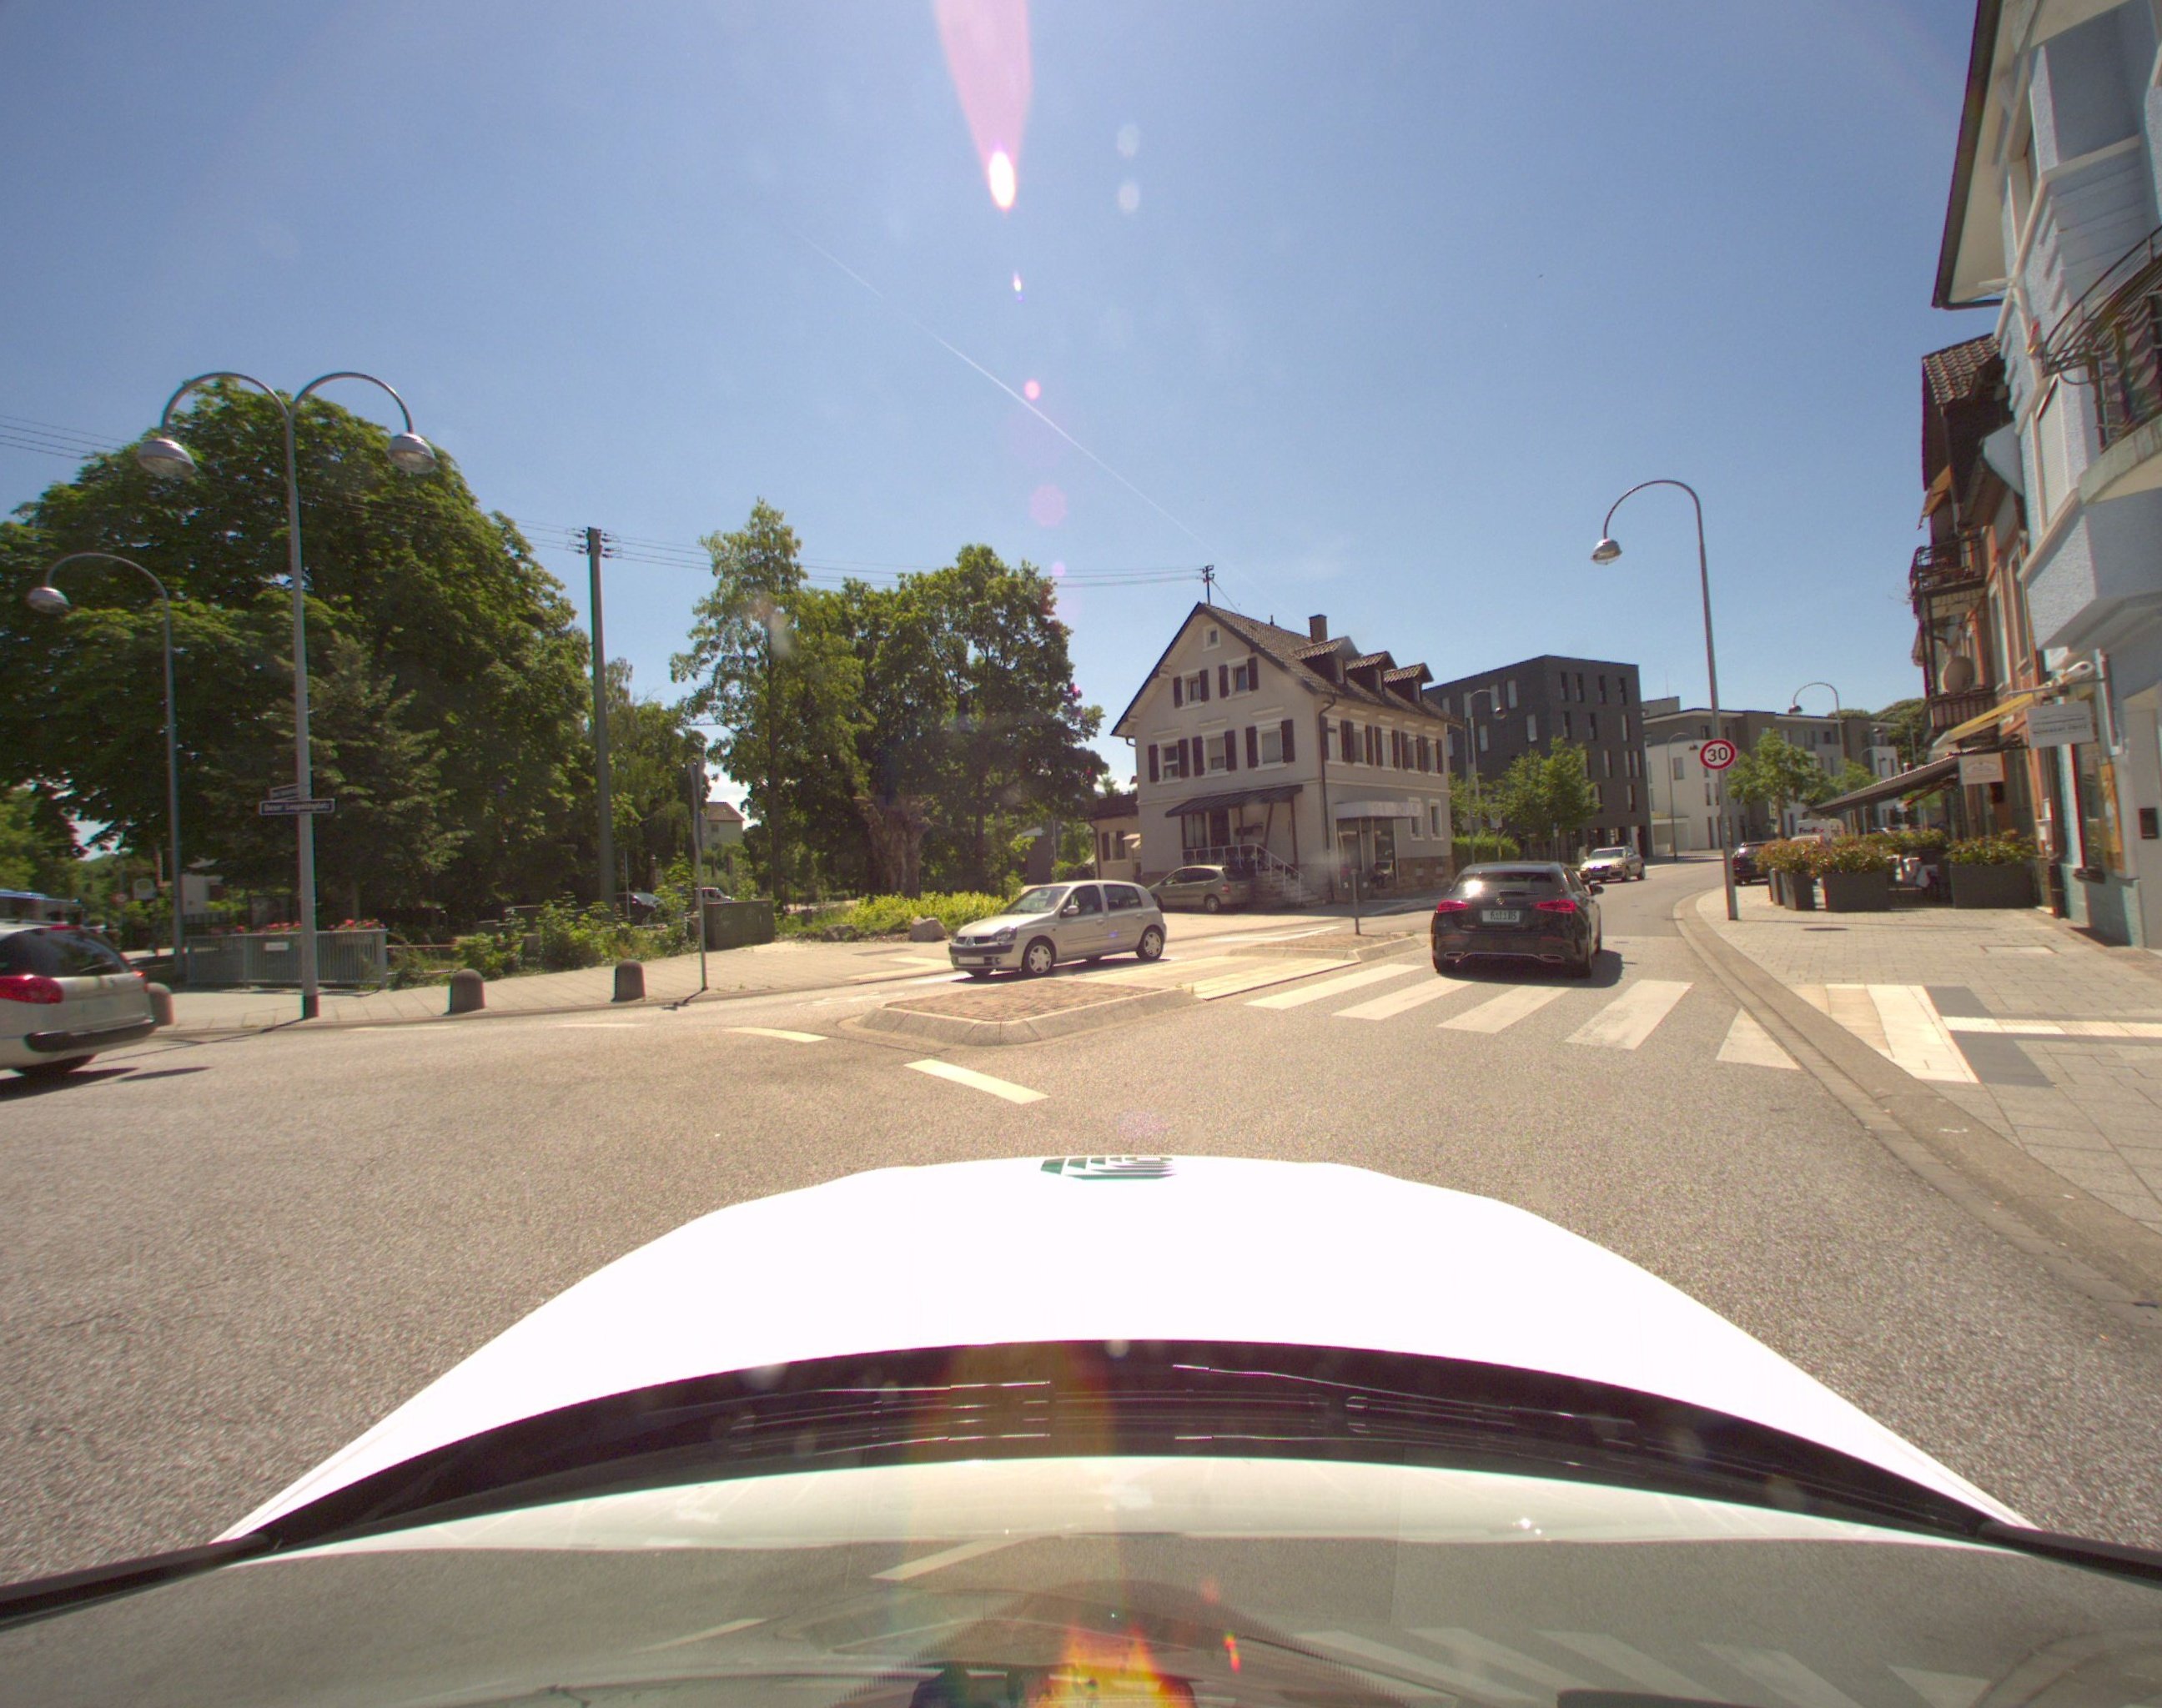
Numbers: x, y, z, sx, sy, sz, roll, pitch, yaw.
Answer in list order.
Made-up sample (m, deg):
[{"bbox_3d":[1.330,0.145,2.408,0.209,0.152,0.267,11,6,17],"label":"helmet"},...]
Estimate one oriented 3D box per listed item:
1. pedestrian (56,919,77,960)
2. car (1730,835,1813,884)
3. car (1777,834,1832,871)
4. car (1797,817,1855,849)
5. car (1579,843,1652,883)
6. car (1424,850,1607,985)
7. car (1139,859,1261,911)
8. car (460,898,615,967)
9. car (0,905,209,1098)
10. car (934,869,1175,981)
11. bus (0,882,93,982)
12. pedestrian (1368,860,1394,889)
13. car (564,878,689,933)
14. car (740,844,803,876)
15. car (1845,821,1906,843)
[{"bbox_3d":[-42.001,3.519,33.718,0.572,1.650,0.507,-4,-2,38],"label":"pedestrian"},{"bbox_3d":[23.898,0.156,28.145,4.023,1.486,1.734,-2,-2,-44],"label":"car"},{"bbox_3d":[33.640,-0.083,37.844,1.590,1.530,3.513,-7,-3,44],"label":"car"},{"bbox_3d":[50.548,-1.420,55.232,4.017,2.014,1.978,-2,-1,-35],"label":"car"},{"bbox_3d":[23.956,0.385,36.434,4.107,1.543,1.659,-2,-4,-43],"label":"car"},{"bbox_3d":[6.261,0.722,11.458,1.745,1.457,4.467,-2,0,35],"label":"car"},{"bbox_3d":[4.139,1.117,28.714,1.768,1.640,3.950,-2,-2,-44],"label":"car"},{"bbox_3d":[-14.823,2.100,22.345,1.613,1.552,3.078,-4,-1,30],"label":"car"},{"bbox_3d":[-10.467,1.267,6.623,4.215,1.517,1.731,-1,-4,-25],"label":"car"},{"bbox_3d":[-0.324,1.076,13.183,3.740,1.412,1.530,-2,-4,-44],"label":"car"},{"bbox_3d":[-41.794,3.011,30.970,17.841,3.172,3.740,-5,-4,44],"label":"bus"},{"bbox_3d":[11.523,0.778,31.244,0.663,1.054,0.704,-4,-2,41],"label":"pedestrian"},{"bbox_3d":[-18.847,2.115,33.874,3.970,2.014,2.001,-3,-1,3],"label":"car"},{"bbox_3d":[-21.756,0.425,57.383,4.002,2.013,1.986,-3,-1,-21],"label":"car"},{"bbox_3d":[82.765,-2.246,84.876,2.002,2.014,3.969,-2,-1,-23],"label":"car"}]
